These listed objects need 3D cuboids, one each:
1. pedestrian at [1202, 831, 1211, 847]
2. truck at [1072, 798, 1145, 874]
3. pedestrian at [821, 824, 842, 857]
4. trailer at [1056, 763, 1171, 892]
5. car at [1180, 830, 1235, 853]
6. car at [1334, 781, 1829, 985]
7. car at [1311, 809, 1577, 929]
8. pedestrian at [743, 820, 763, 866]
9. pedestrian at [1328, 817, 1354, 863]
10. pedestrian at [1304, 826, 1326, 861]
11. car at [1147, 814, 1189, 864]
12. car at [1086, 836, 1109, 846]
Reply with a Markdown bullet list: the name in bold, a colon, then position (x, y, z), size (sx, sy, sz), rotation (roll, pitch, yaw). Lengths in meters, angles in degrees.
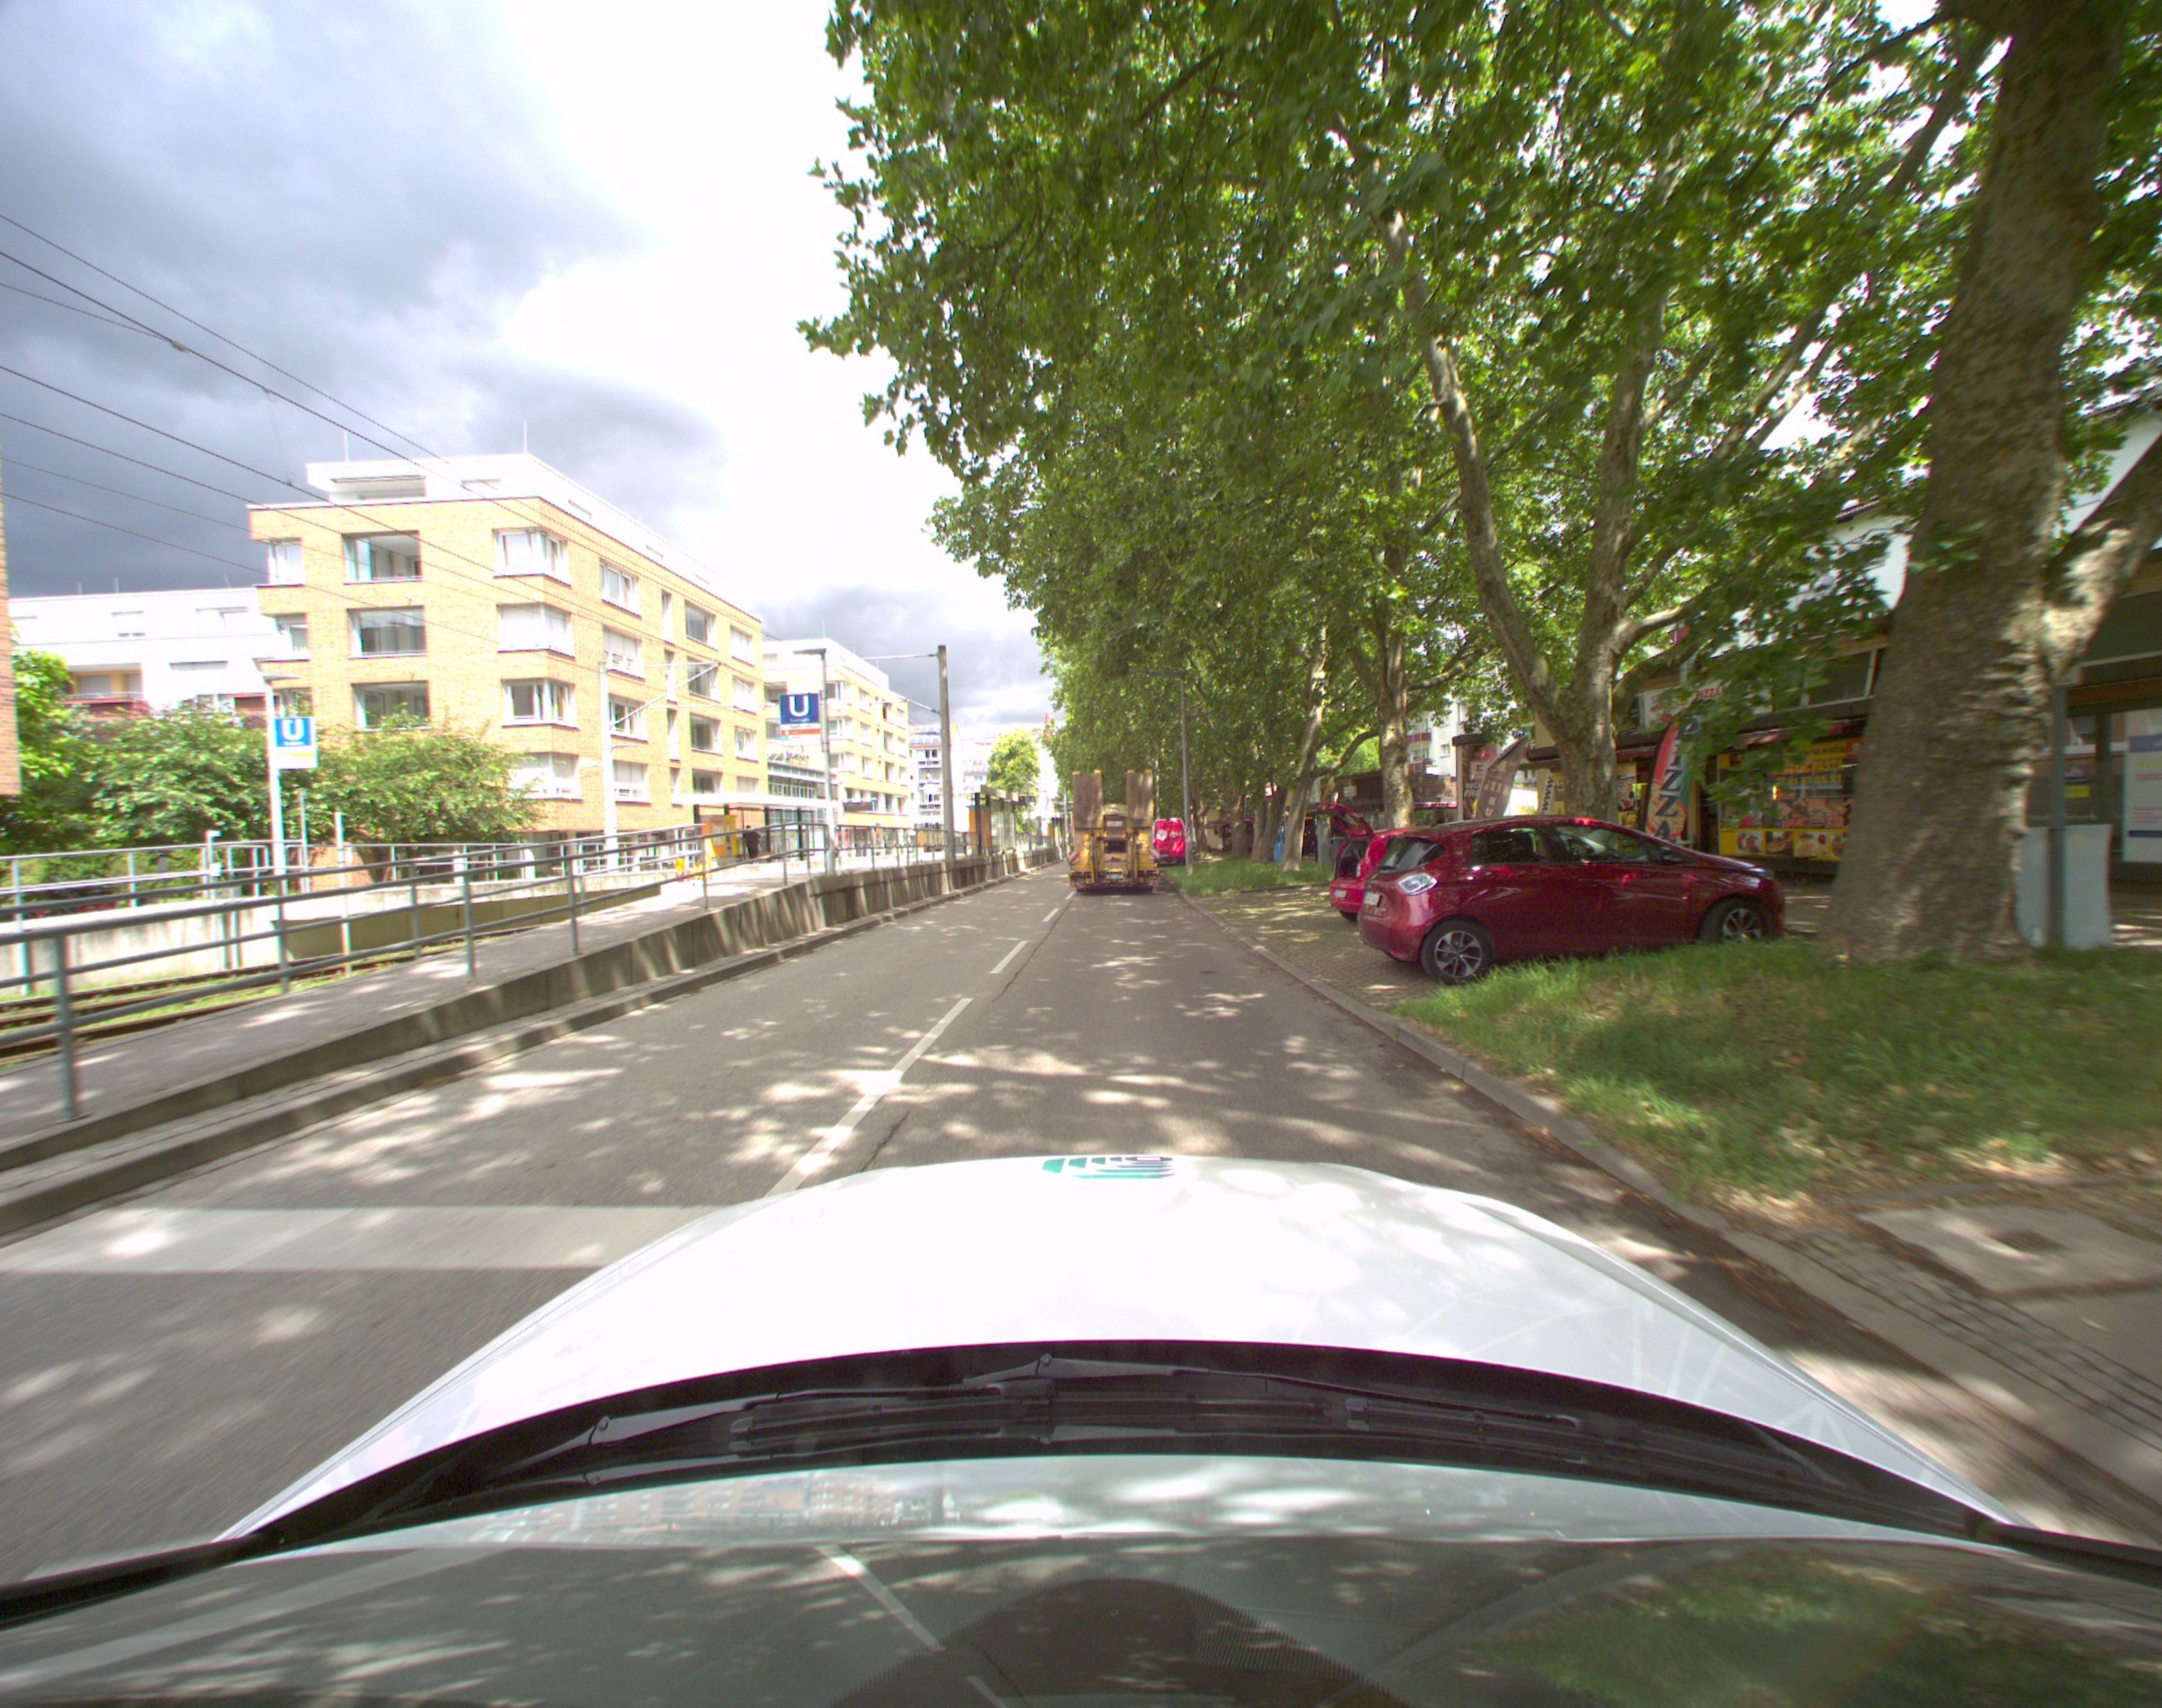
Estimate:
- **pedestrian**: position (11.067, -1.325, 71.888), size (0.693, 1.392, 0.512), rotation (-2, 1, -2)
- **truck**: position (1.192, -0.798, 37.677), size (2.979, 3.134, 7.888), rotation (-1, 1, 0)
- **pedestrian**: position (-12.269, -0.675, 40.106), size (0.748, 1.628, 0.816), rotation (-1, 1, 3)
- **trailer**: position (1.026, -0.817, 28.153), size (3.143, 3.552, 11.100), rotation (-1, 1, 1)
- **car**: position (9.703, -0.953, 62.640), size (3.822, 1.562, 1.617), rotation (-3, 1, -4)
- **car**: position (4.951, 0.275, 8.561), size (4.010, 1.611, 1.733), rotation (-5, 1, 5)
- **car**: position (5.602, 0.210, 12.830), size (3.398, 1.514, 1.609), rotation (-5, 1, -2)
- **pedestrian**: position (-12.962, -0.436, 32.211), size (0.532, 1.763, 0.528), rotation (-2, 0, 0)
- **pedestrian**: position (11.060, -0.577, 34.646), size (0.740, 1.883, 0.942), rotation (-4, 0, 2)
- **pedestrian**: position (10.039, -0.466, 34.972), size (0.623, 1.447, 1.029), rotation (-2, 1, 3)
- **car**: position (4.941, -0.839, 47.169), size (1.896, 2.581, 6.839), rotation (-3, 1, 3)
- **car**: position (3.734, -3.013, 187.180), size (5.092, 2.102, 1.969), rotation (-1, 1, -12)
